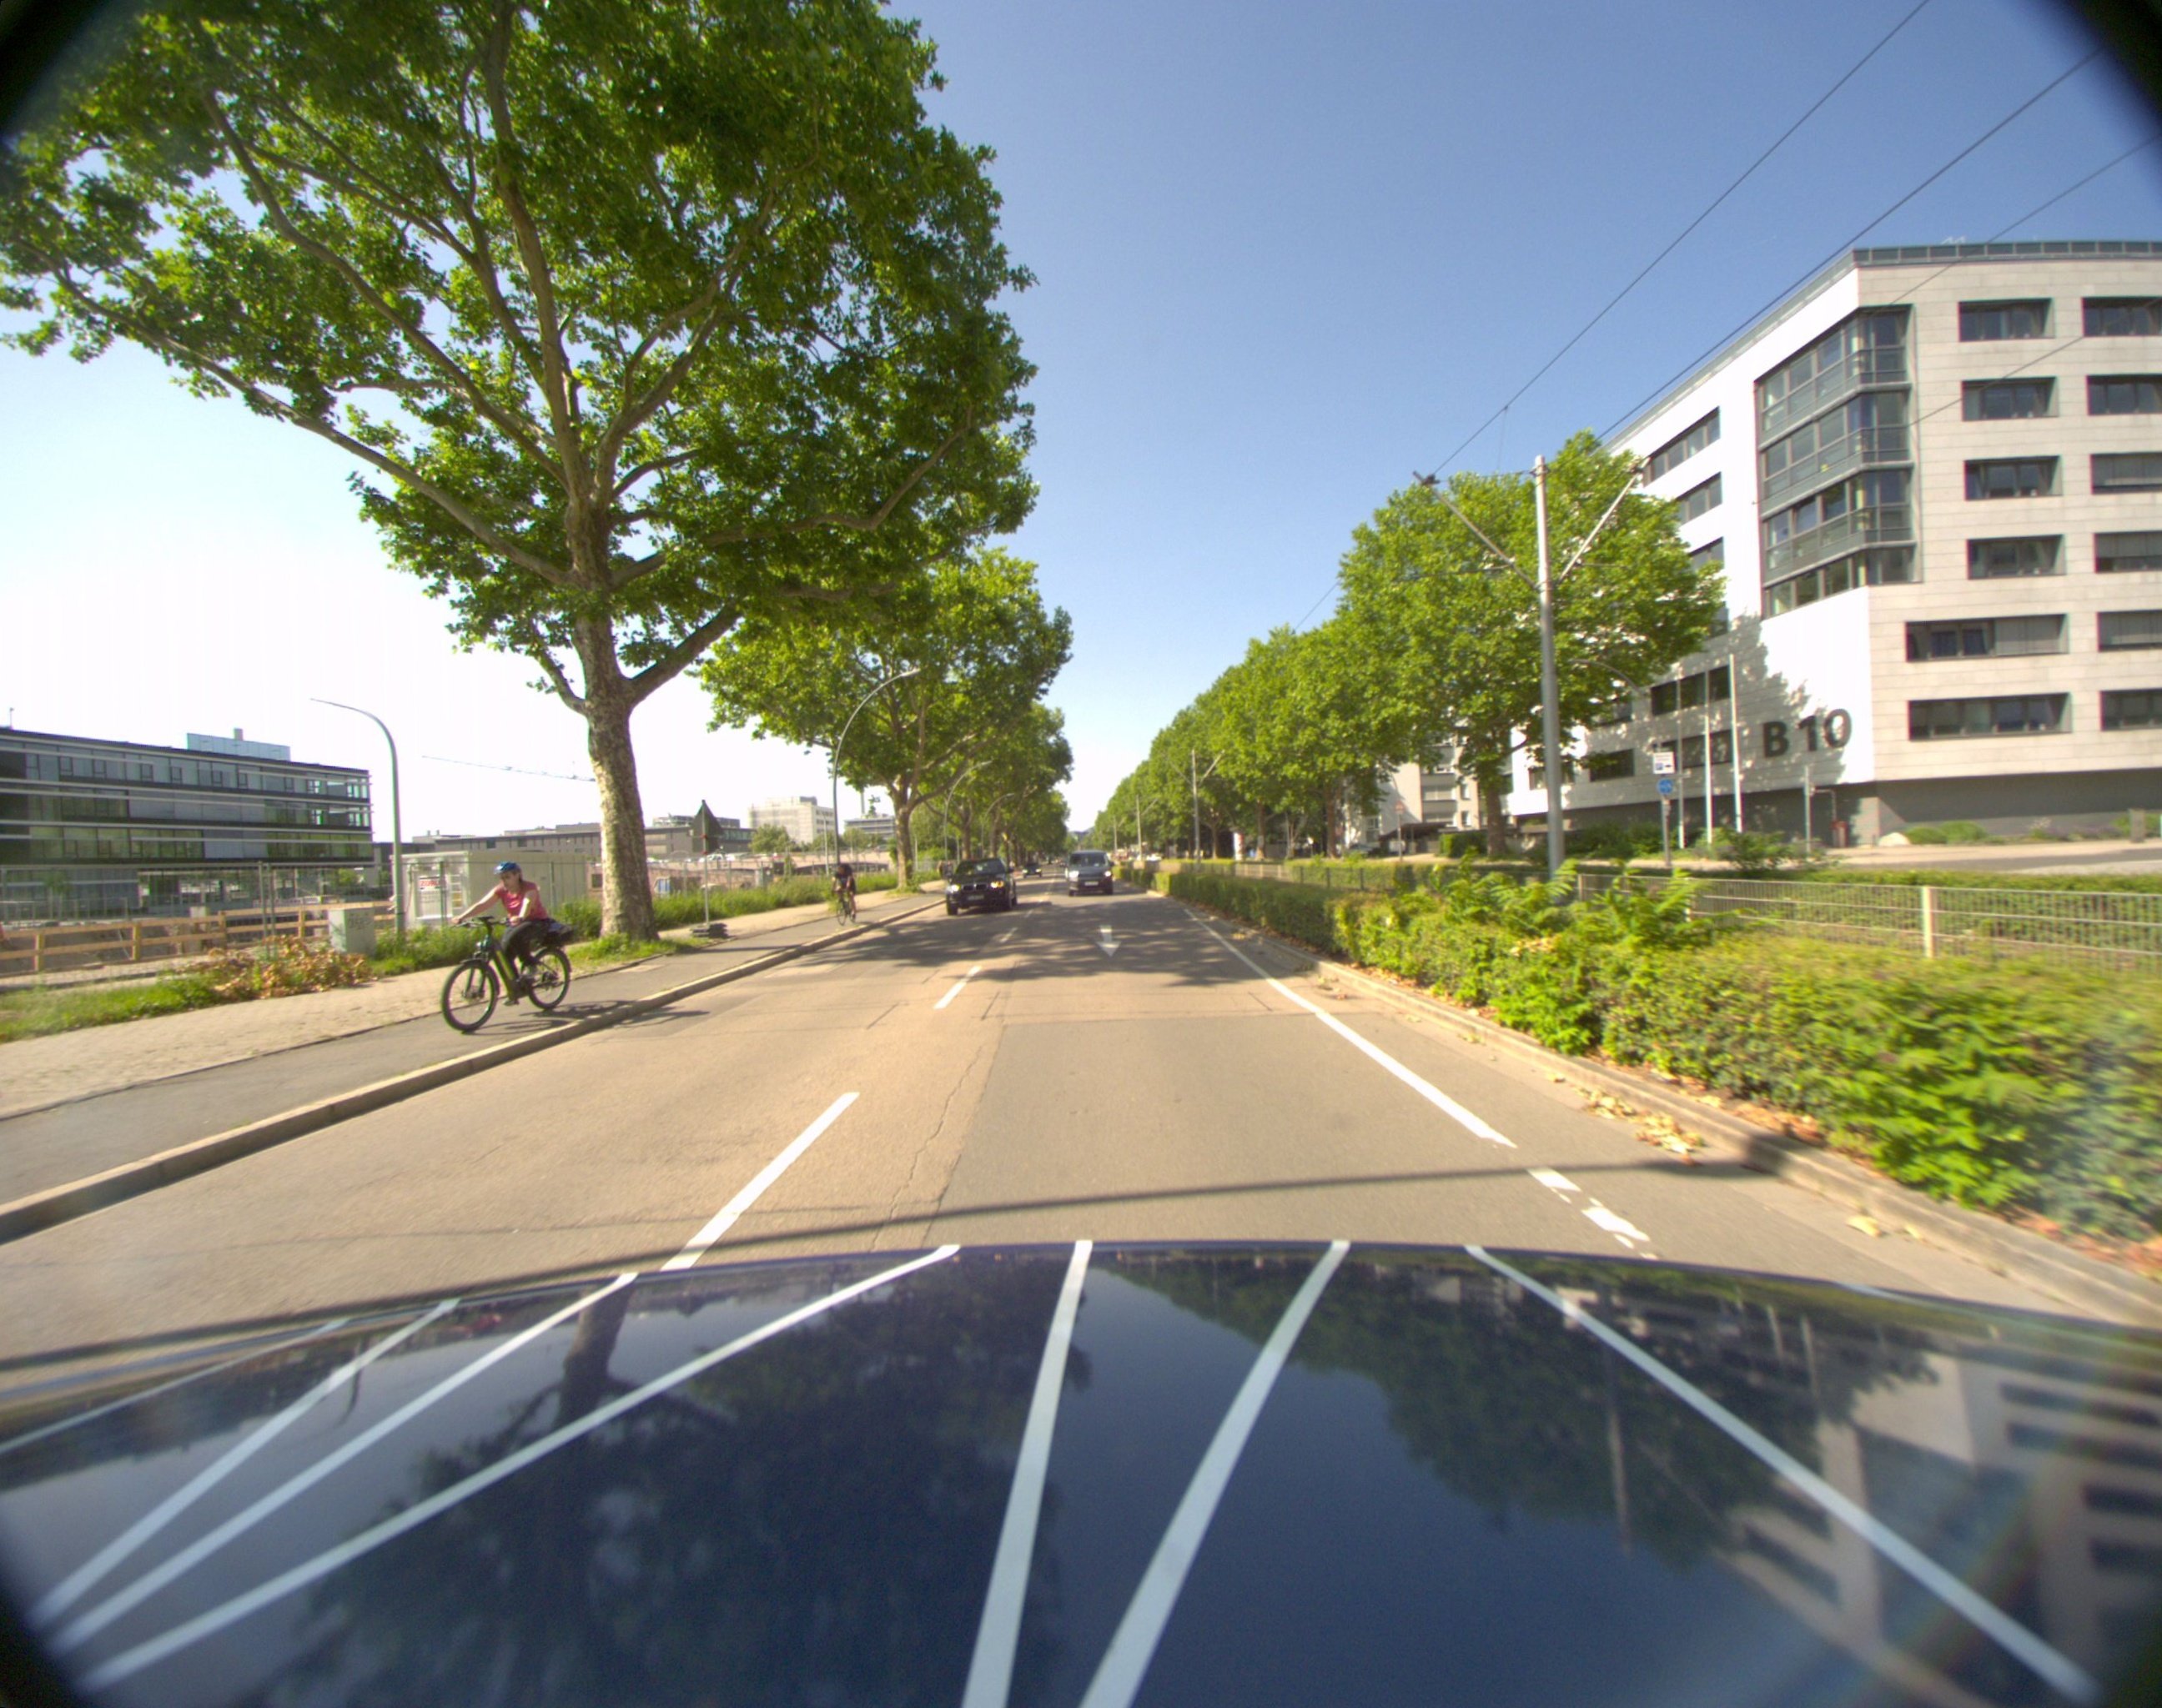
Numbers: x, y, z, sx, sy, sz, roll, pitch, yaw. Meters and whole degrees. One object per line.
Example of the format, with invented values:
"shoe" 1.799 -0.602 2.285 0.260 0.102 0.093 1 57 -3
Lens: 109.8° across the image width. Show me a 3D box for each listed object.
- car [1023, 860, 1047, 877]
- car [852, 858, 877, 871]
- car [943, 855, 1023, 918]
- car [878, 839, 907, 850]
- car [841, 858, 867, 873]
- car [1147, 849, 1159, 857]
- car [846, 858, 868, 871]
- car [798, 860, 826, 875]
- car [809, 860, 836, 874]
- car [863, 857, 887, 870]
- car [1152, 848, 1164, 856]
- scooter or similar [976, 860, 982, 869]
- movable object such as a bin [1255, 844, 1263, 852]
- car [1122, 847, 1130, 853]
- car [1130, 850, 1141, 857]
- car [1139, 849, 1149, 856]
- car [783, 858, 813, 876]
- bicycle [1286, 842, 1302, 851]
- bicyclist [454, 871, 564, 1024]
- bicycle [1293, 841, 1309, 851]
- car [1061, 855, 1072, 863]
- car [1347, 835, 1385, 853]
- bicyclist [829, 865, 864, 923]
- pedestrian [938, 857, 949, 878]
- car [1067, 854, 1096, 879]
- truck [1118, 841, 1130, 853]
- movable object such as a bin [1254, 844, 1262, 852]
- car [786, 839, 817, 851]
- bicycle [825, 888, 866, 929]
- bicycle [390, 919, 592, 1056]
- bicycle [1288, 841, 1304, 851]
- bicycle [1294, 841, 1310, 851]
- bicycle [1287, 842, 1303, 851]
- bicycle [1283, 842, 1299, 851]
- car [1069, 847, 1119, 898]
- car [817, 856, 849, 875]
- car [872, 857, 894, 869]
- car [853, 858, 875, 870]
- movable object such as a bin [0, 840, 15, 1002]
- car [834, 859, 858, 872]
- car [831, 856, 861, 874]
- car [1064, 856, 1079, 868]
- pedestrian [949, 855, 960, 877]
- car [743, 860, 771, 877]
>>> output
"car" -4.380 1.349 73.175 1.854 1.419 4.151 -4 0 1
"car" -40.456 1.960 142.124 3.998 2.308 1.808 -3 0 -3
"car" -3.083 0.974 24.775 1.924 1.720 4.151 -4 0 0
"car" -29.118 -1.433 117.598 3.998 1.501 1.808 -3 0 -3
"car" -40.043 1.984 134.092 3.998 2.308 1.808 -3 0 -3
"car" 14.983 -0.194 157.904 1.857 1.445 3.999 -3 0 -2
"car" -45.828 2.136 155.455 3.998 2.308 1.808 -3 0 -3
"car" -45.305 2.258 128.166 3.998 2.308 1.808 -3 0 -3
"car" -45.472 2.236 133.717 3.998 2.308 1.808 -3 0 -3
"car" -40.388 1.920 149.018 3.998 2.308 1.808 -3 0 -3
"car" 14.337 -0.310 141.693 1.820 1.482 3.912 -1 0 -2
"scooter or similar" -12.764 1.320 95.286 0.483 1.115 1.128 -3 0 0
"movable object such as a bin" 24.065 -0.758 102.861 0.898 1.031 0.546 -3 1 -2
"car" 11.923 -1.147 201.786 1.701 1.406 3.891 -5 0 -2
"car" 11.504 -0.115 161.730 1.861 1.445 3.999 -3 0 -2
"car" 14.255 -0.397 171.718 1.861 1.445 3.999 -3 0 -2
"car" -45.197 2.083 121.221 3.998 2.723 1.808 -3 0 -3
"bicycle" 26.031 -0.921 92.895 1.770 1.096 0.421 -3 1 -2
"bicyclist" -6.276 0.993 8.369 0.621 1.590 0.732 -1 0 -2
"bicycle" 26.200 -0.917 90.553 1.770 1.096 0.421 -3 1 -2
"car" -2.778 0.954 145.874 1.854 1.419 4.151 -4 0 1
"car" 26.467 -0.918 70.733 1.747 1.541 4.348 -3 0 -2
"bicyclist" -6.343 1.060 20.575 0.600 1.481 1.214 0 0 -2
"pedestrian" -11.291 1.064 62.362 0.697 1.673 0.959 -3 1 -2
"car" 0.026 0.856 54.139 1.924 1.543 4.151 -4 0 0
"truck" 12.826 -2.150 225.734 2.752 3.259 6.540 -3 0 -2
"movable object such as a bin" 24.087 -0.753 103.428 0.898 1.031 0.546 -3 1 -2
"car" -42.115 -1.360 114.668 3.998 1.501 1.808 -3 0 -3
"bicycle" -6.343 1.442 20.541 0.599 0.974 1.781 0 0 -2
"bicycle" -6.275 1.363 8.253 0.653 1.123 1.945 -2 1 0
"bicycle" 26.016 -0.916 91.993 1.770 1.096 0.421 -3 1 -2
"bicycle" 26.222 -0.915 90.056 1.770 1.096 0.421 -3 1 -2
"bicycle" 26.010 -0.918 92.432 1.770 1.096 0.421 -3 1 -2
"bicycle" 26.005 -0.926 93.981 1.770 1.096 0.421 -3 1 -2
"car" 0.510 0.674 30.044 1.789 1.839 4.000 -2 0 1
"car" -39.635 1.845 121.307 4.376 2.723 1.808 -3 0 -3
"car" -40.541 1.891 155.734 3.998 2.308 1.808 -3 0 -3
"car" -46.357 2.123 162.447 3.998 2.308 1.808 -3 0 -3
"movable object such as a bin" -21.413 1.316 11.391 2.376 3.054 5.984 -3 0 -3
"car" -45.961 2.179 148.586 3.998 2.308 1.808 -3 0 -3
"car" -39.674 1.809 128.340 4.376 2.723 1.808 -3 0 -3
"car" -1.328 1.103 105.611 1.854 1.419 4.151 -4 0 1
"pedestrian" -10.340 0.994 62.130 0.712 1.714 1.066 -3 0 -2
"car" -57.318 2.569 134.472 3.998 2.723 1.808 -3 0 -3
